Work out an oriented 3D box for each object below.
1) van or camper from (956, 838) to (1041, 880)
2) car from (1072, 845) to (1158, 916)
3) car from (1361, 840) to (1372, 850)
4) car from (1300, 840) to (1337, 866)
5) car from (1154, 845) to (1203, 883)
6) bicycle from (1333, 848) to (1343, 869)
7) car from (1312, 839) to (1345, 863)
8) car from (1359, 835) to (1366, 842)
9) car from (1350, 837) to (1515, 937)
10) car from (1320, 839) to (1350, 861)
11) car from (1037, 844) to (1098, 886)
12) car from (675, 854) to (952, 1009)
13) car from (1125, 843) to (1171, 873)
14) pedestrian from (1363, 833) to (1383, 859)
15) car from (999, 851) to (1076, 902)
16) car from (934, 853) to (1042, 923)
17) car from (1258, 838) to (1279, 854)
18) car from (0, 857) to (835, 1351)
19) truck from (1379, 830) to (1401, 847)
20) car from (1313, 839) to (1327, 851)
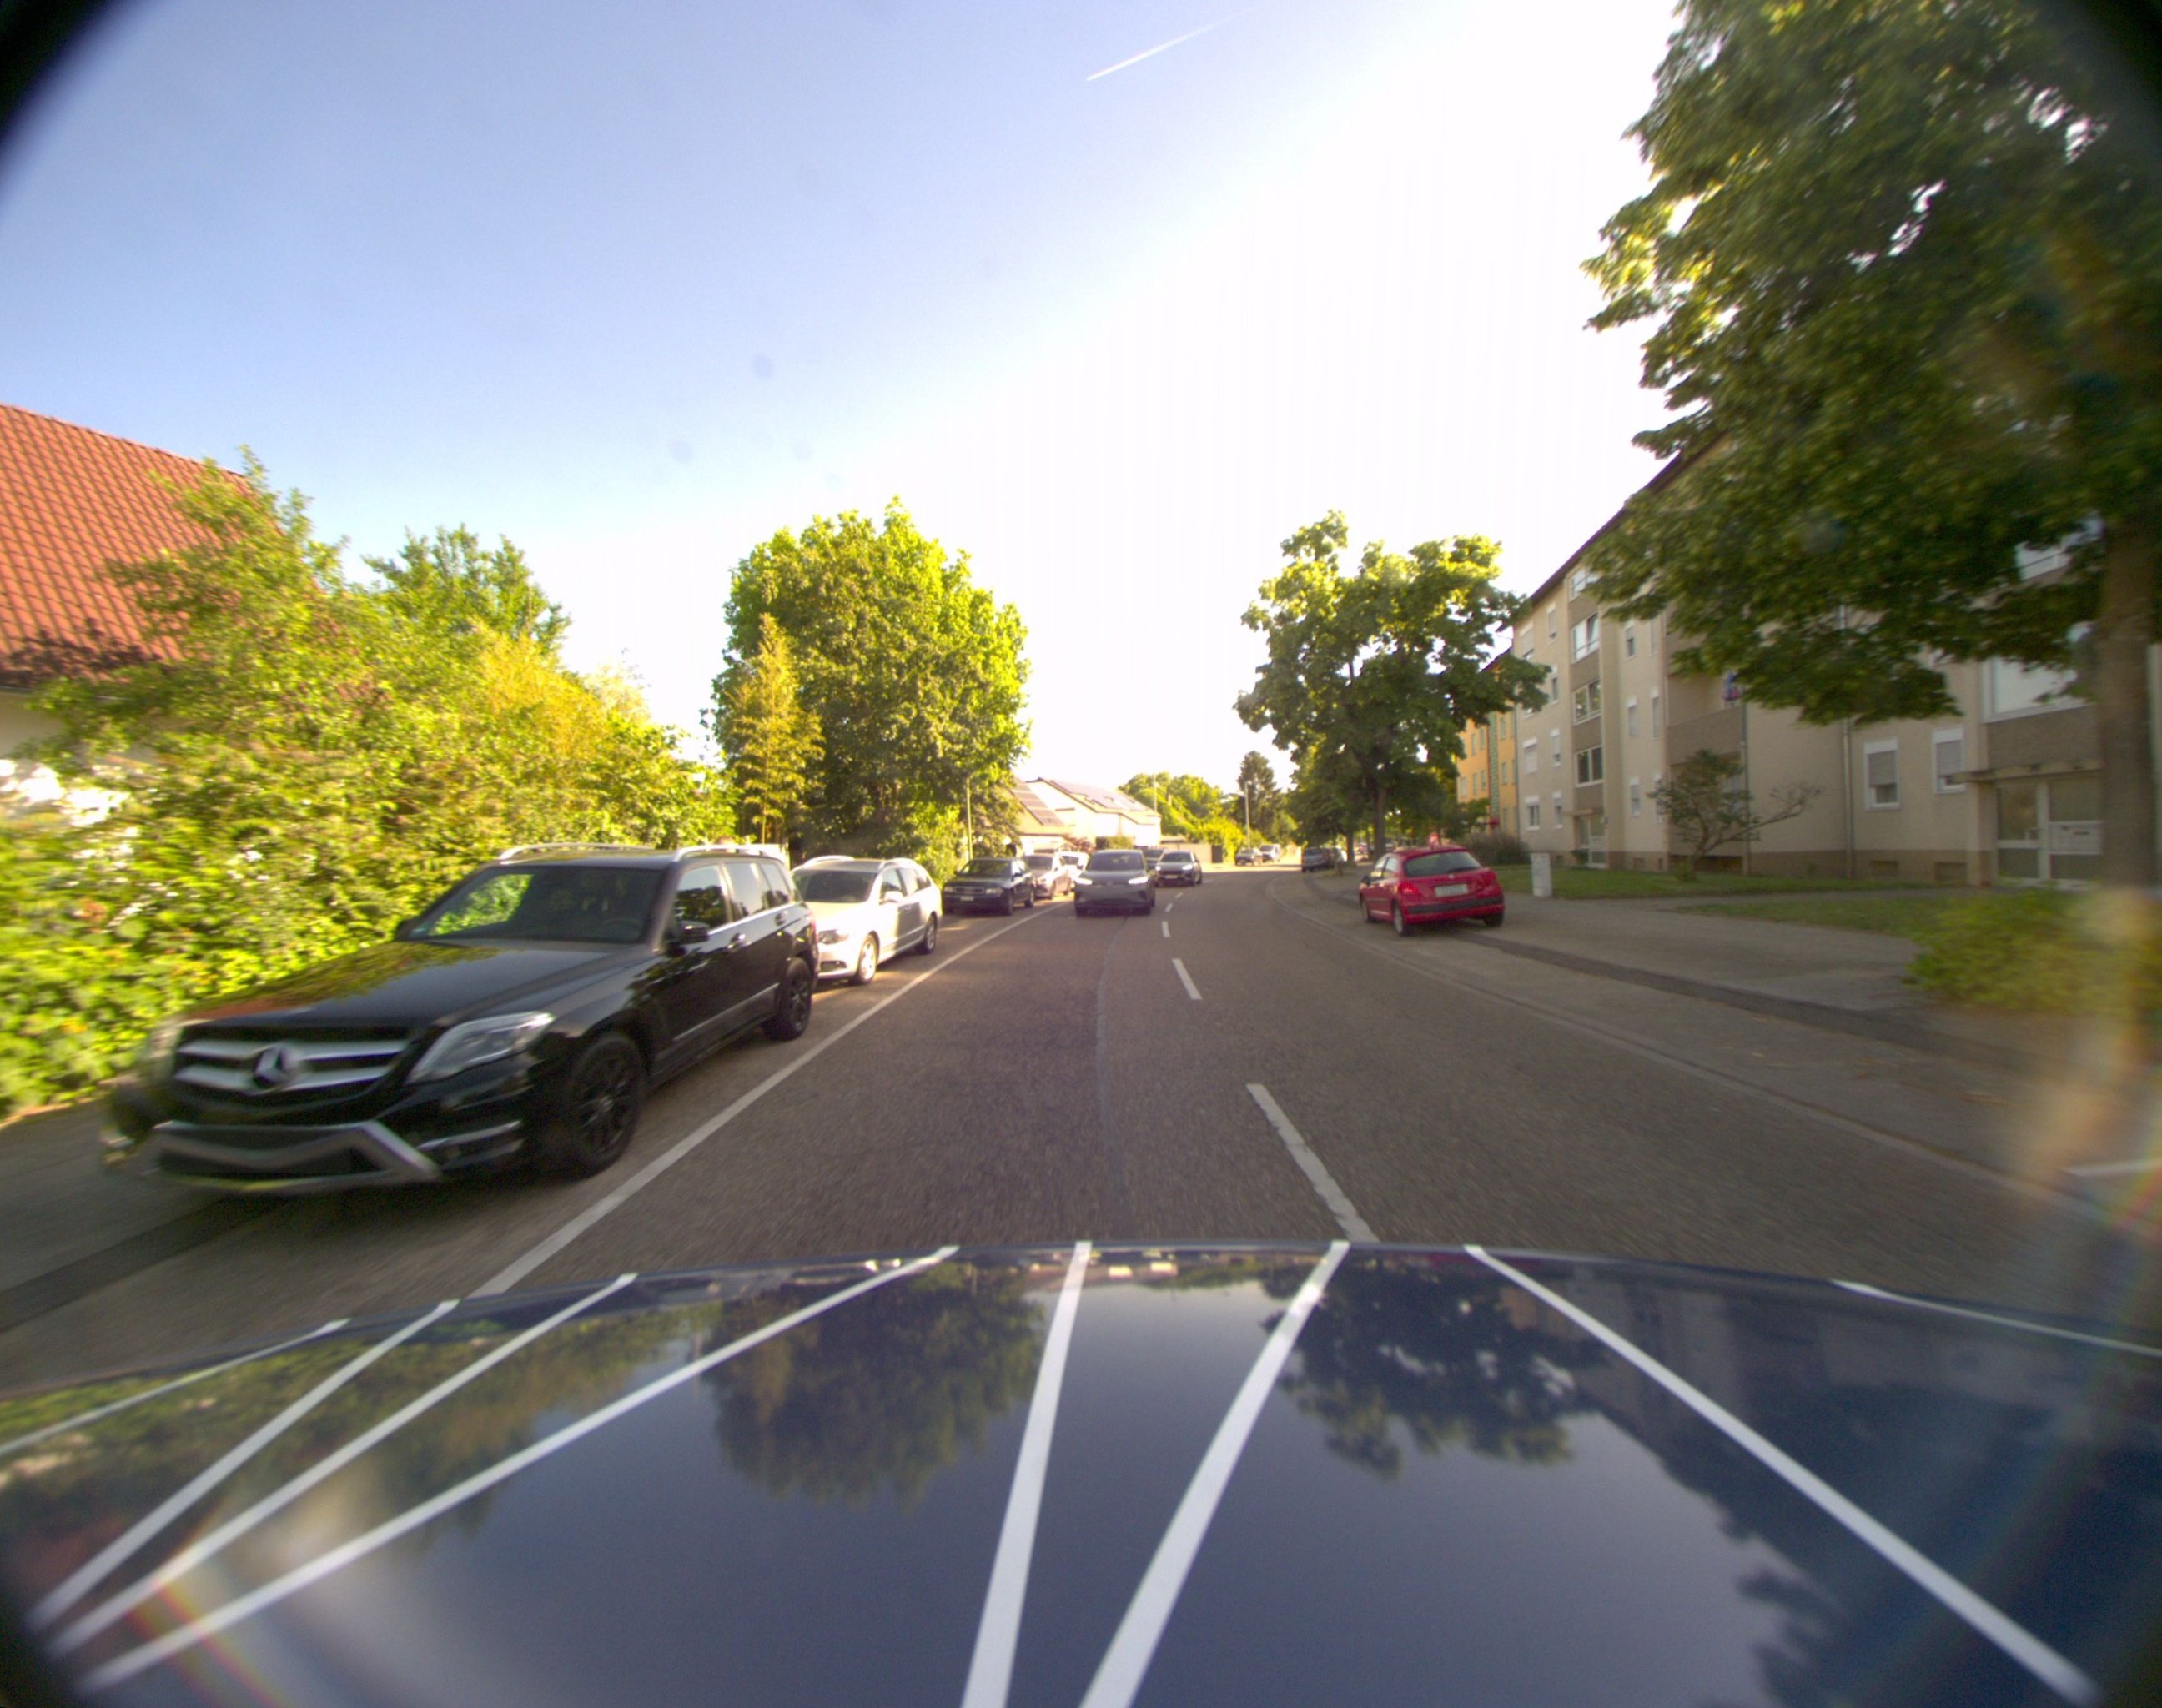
[{"bbox_3d":[-4.242,0.264,39.227,3.843,2.002,1.954,-2,1,27],"label":"van or camper"},{"bbox_3d":[0.979,0.607,19.781,1.776,1.624,3.706,-2,0,9],"label":"car"},{"bbox_3d":[45.149,-1.445,120.115,1.544,1.456,3.709,-2,0,21],"label":"car"},{"bbox_3d":[14.975,-0.090,47.799,1.649,1.530,3.710,-2,0,25],"label":"car"},{"bbox_3d":[4.388,0.414,33.777,1.579,1.569,3.708,-2,0,15],"label":"car"},{"bbox_3d":[12.317,0.218,36.396,0.357,1.001,1.201,-3,-1,17],"label":"bicycle"},{"bbox_3d":[17.167,-0.207,52.661,1.649,1.530,3.710,-2,0,25],"label":"car"},{"bbox_3d":[63.038,-3.550,170.080,1.544,1.456,3.709,-2,0,21],"label":"car"},{"bbox_3d":[6.418,0.522,14.367,1.660,1.485,3.910,-6,0,8],"label":"car"},{"bbox_3d":[18.829,-0.336,56.207,1.649,1.530,3.710,-2,0,25],"label":"car"},{"bbox_3d":[-0.474,0.388,30.712,1.635,1.565,3.707,0,1,13],"label":"car"},{"bbox_3d":[-3.289,0.850,10.519,1.766,1.555,4.663,-2,1,5],"label":"car"},{"bbox_3d":[4.017,0.190,45.036,1.774,1.727,3.709,1,1,21],"label":"car"},{"bbox_3d":[18.520,-0.509,48.195,0.959,1.619,0.734,-1,1,37],"label":"pedestrian"},{"bbox_3d":[-1.400,0.698,26.009,1.722,1.565,4.003,0,1,11],"label":"car"},{"bbox_3d":[-2.305,0.808,20.141,1.657,1.555,4.467,-2,1,8],"label":"car"},{"bbox_3d":[19.632,-0.846,79.384,1.638,1.569,3.709,-2,0,21],"label":"car"},{"bbox_3d":[-3.218,0.919,4.945,1.767,1.666,4.393,-2,1,0],"label":"car"},{"bbox_3d":[45.555,-2.353,111.941,2.408,2.353,4.533,-2,1,29],"label":"truck"},{"bbox_3d":[33.502,-1.319,106.466,1.638,1.569,3.709,-2,0,21],"label":"car"}]
